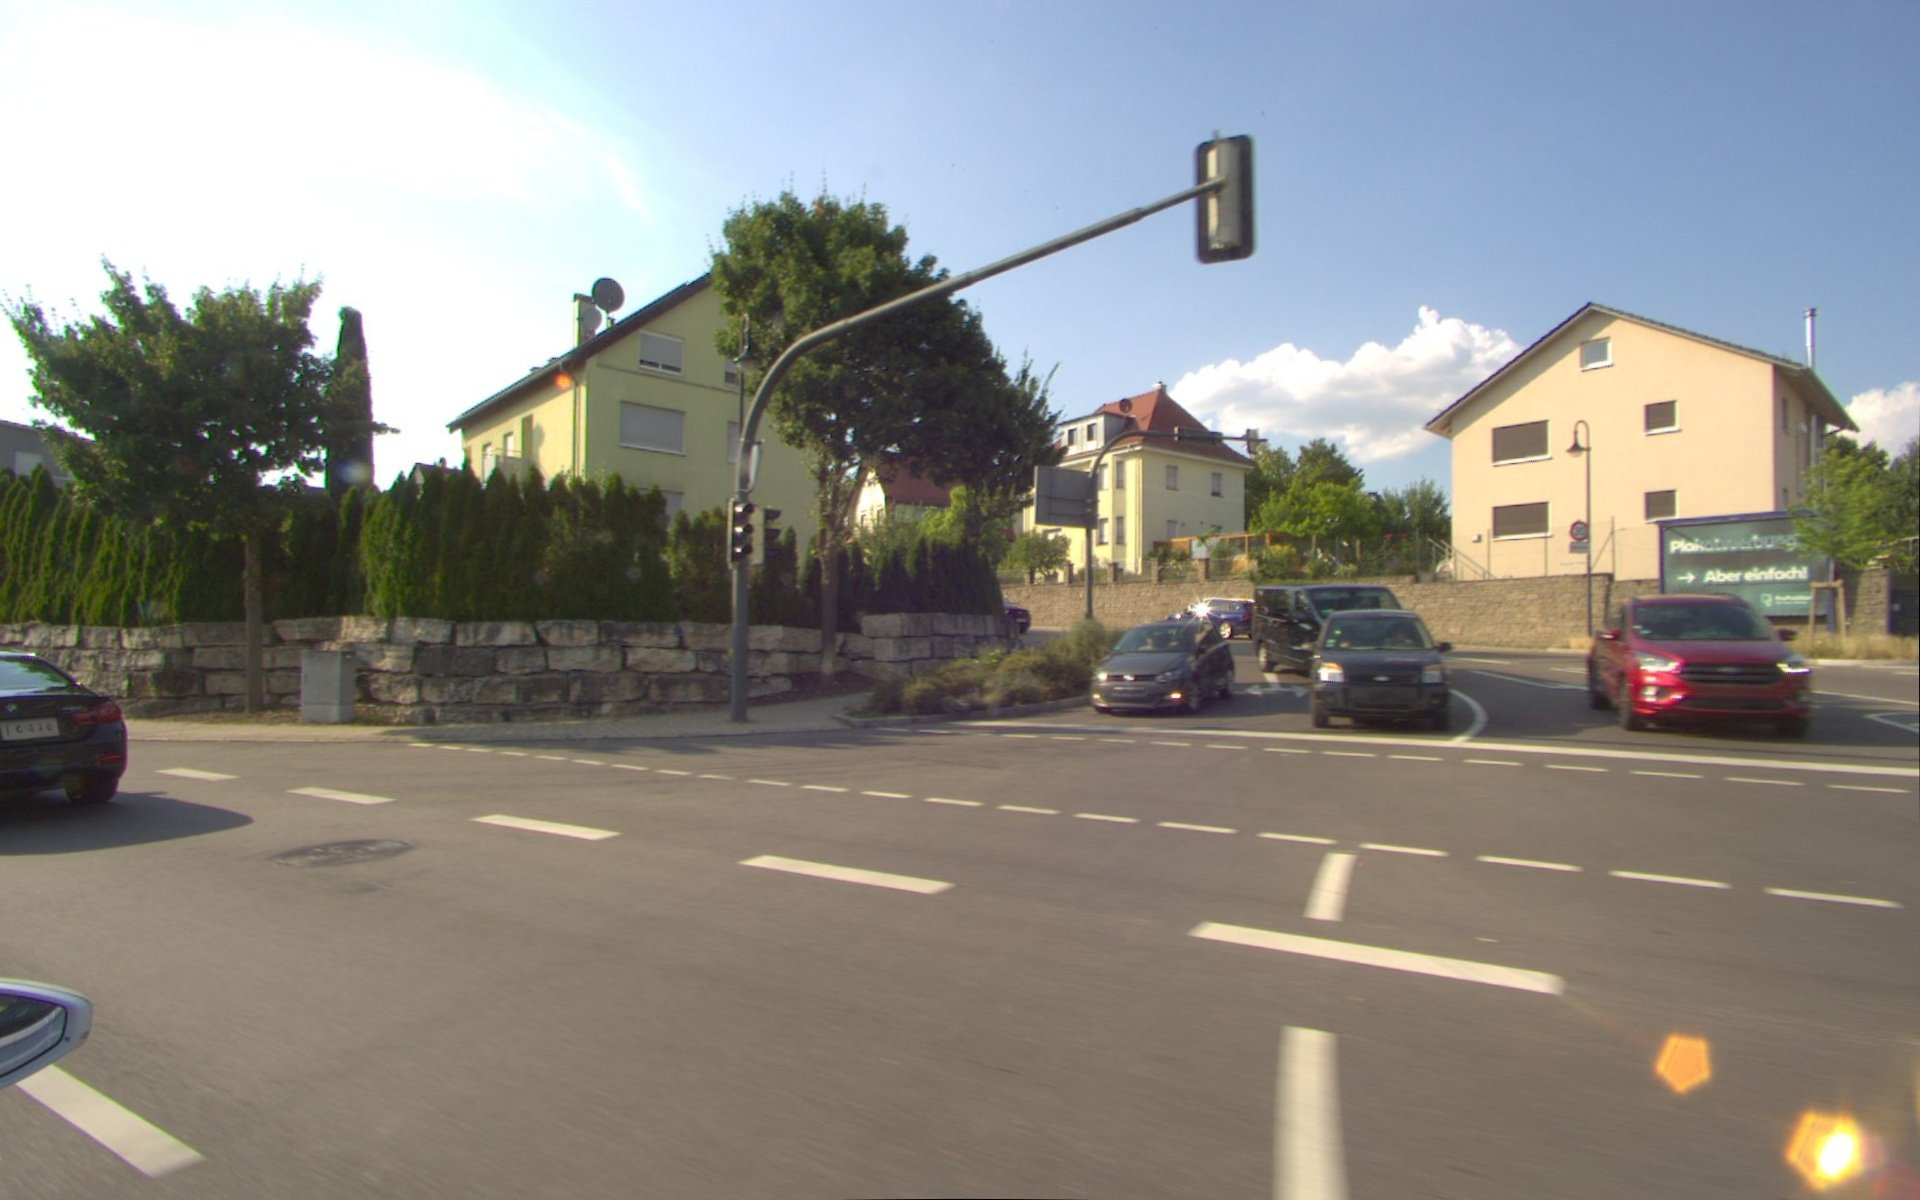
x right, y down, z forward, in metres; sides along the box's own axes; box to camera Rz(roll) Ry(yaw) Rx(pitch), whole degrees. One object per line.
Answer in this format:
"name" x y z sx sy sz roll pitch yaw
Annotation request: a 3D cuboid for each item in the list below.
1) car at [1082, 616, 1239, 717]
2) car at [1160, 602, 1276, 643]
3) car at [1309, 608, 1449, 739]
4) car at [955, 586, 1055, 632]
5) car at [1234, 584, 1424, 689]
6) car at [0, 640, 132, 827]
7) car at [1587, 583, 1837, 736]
"car" 3.460 1.039 16.820 1.602 1.468 3.595 -2 -1 28
"car" 9.450 0.845 37.043 1.612 1.428 4.254 1 -2 -32
"car" 5.807 0.930 14.052 1.571 1.562 3.790 -1 -1 21
"car" 1.661 0.397 38.344 1.973 1.664 3.978 1 -2 -32
"car" 7.570 0.660 21.229 1.961 1.958 5.177 0 1 -2
"car" -9.113 1.071 8.778 4.202 1.386 1.696 -1 -1 33
"car" 9.549 0.724 13.104 1.832 1.646 4.239 0 -2 26
